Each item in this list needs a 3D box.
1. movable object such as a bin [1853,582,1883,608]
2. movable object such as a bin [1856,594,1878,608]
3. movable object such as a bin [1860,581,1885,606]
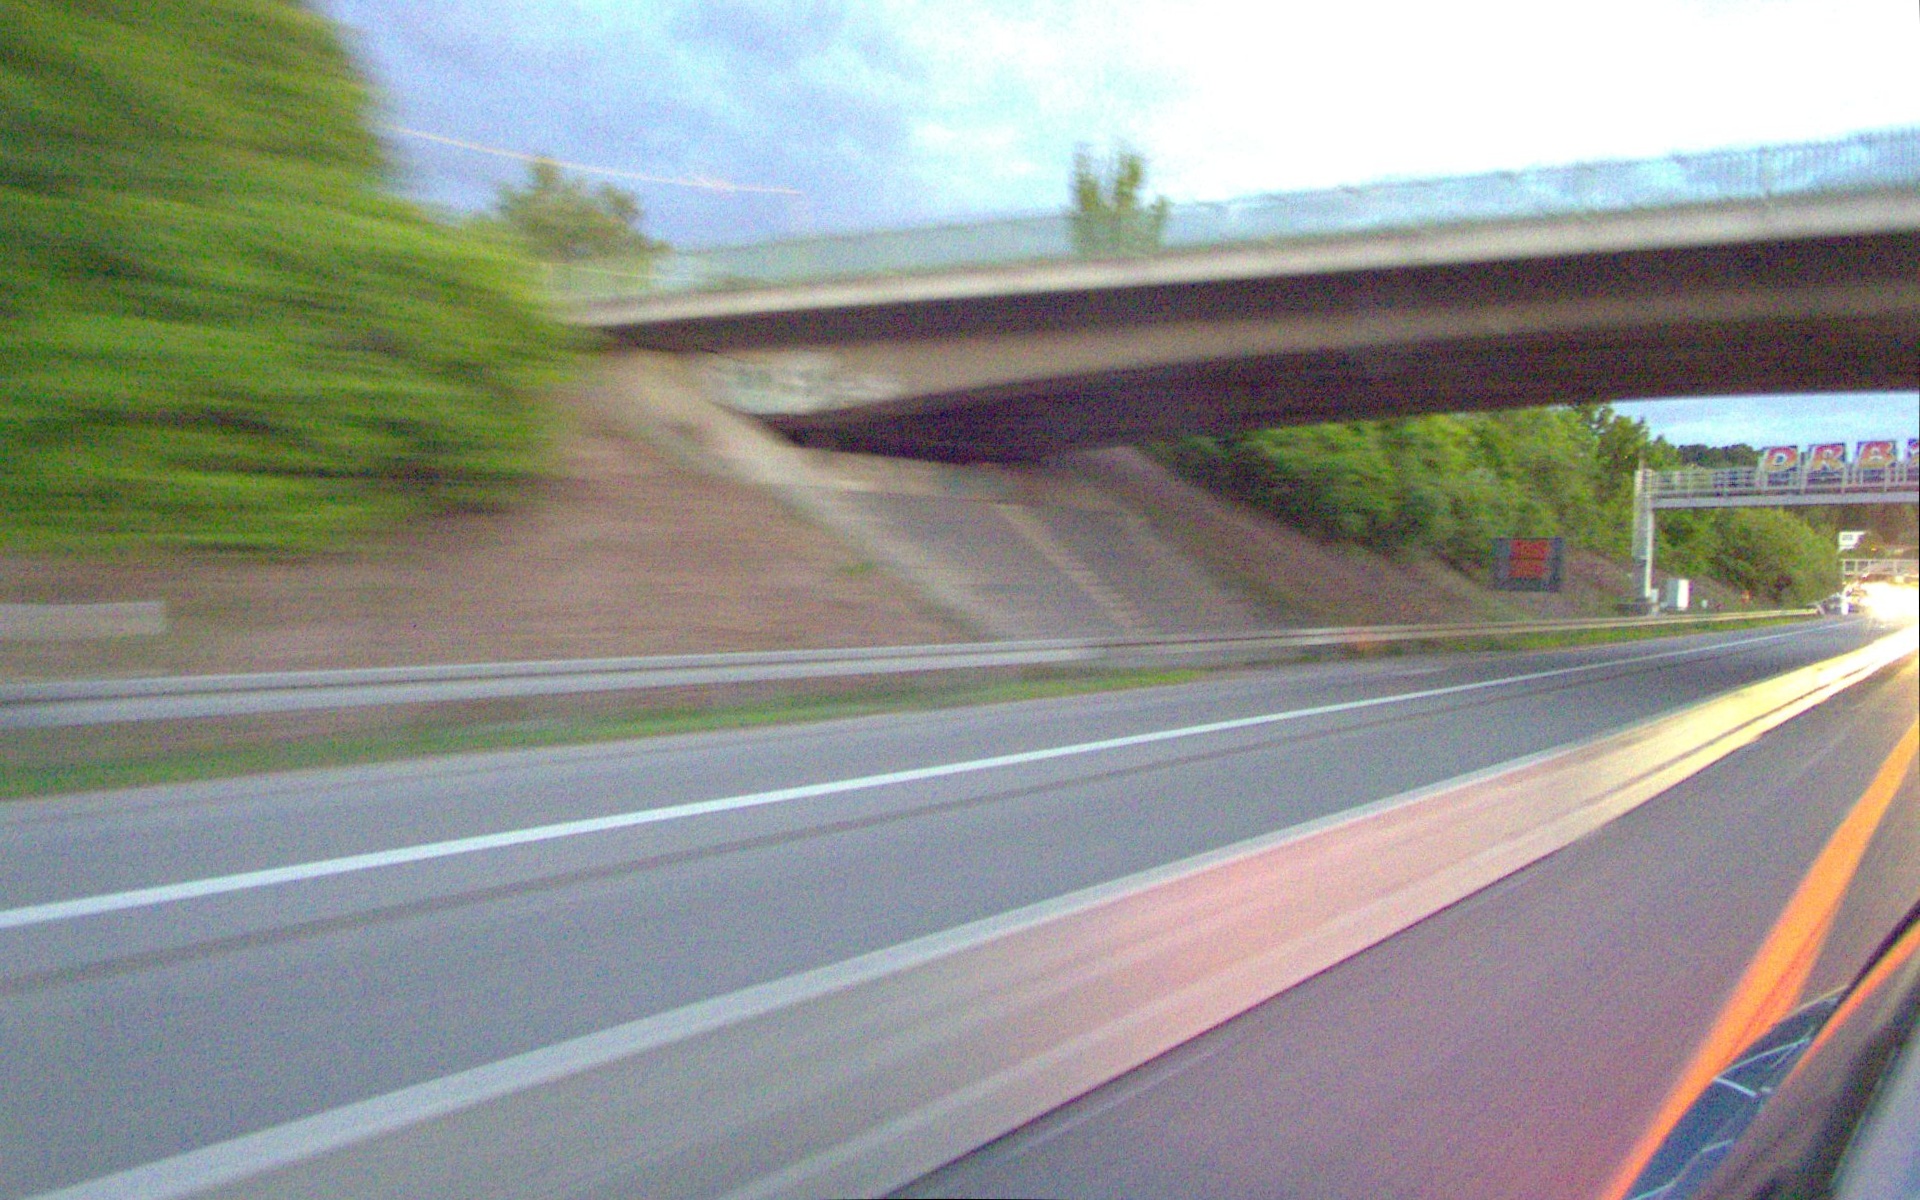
[{"bbox_3d":[113.544,-0.623,126.558,2.620,3.147,5.717,2,1,42],"label":"movable object such as a bin"},{"bbox_3d":[116.731,0.090,130.261,1.994,1.621,4.021,3,3,43],"label":"movable object such as a bin"},{"bbox_3d":[129.319,-0.951,143.416,2.563,3.359,5.494,2,2,42],"label":"movable object such as a bin"}]
